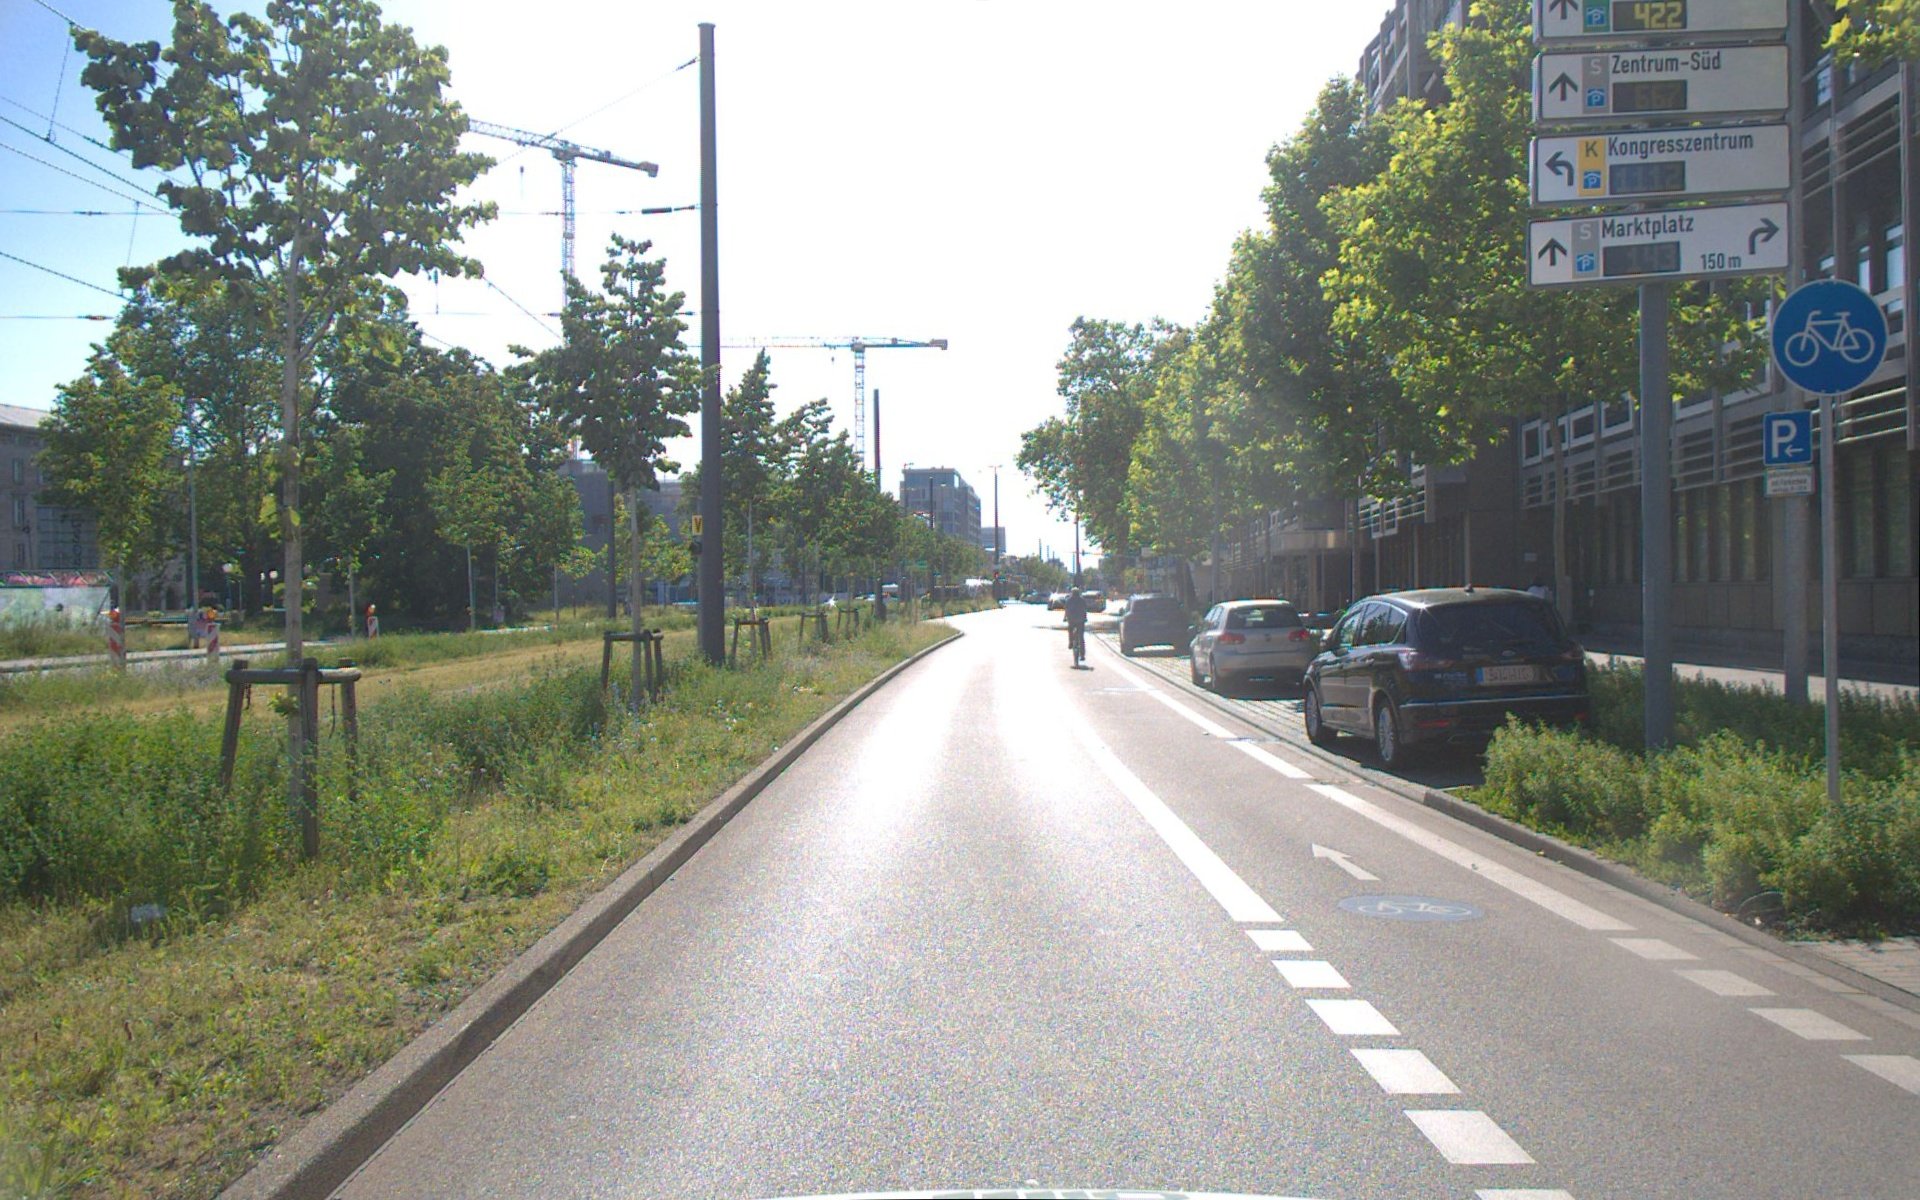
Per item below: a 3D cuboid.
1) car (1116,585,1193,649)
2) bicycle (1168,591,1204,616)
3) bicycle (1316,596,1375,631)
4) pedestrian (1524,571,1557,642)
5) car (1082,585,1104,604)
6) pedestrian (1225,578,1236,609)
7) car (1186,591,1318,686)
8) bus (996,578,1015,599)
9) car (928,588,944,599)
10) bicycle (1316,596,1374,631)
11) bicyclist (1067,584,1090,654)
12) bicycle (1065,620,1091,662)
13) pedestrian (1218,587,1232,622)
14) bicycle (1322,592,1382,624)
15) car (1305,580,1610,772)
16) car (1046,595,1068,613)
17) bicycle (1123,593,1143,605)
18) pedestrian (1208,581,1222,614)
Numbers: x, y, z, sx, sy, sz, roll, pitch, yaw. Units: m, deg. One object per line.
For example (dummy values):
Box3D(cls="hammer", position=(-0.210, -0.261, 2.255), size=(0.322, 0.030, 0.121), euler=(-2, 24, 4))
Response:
Box3D(cls="car", position=(5.541, 0.452, 47.560), size=(1.811, 1.685, 4.850), euler=(-2, 0, 3))
Box3D(cls="bicycle", position=(12.653, 0.189, 92.512), size=(1.897, 1.258, 0.579), euler=(-4, 0, 2))
Box3D(cls="bicycle", position=(12.700, 0.442, 54.559), size=(1.818, 1.028, 0.427), euler=(-3, 0, 6))
Box3D(cls="pedestrian", position=(13.808, 0.152, 39.370), size=(0.500, 1.651, 0.674), euler=(-3, 0, 5))
Box3D(cls="car", position=(11.599, -0.486, 143.880), size=(1.685, 1.646, 4.189), euler=(0, 1, 7))
Box3D(cls="pedestrian", position=(15.487, -0.390, 94.602), size=(0.500, 1.730, 0.774), euler=(-3, 0, 5))
Box3D(cls="car", position=(5.062, 0.618, 29.158), size=(1.585, 1.490, 4.155), euler=(-2, 0, 1))
Box3D(cls="bus", position=(7.028, -1.698, 253.156), size=(2.573, 3.011, 9.902), euler=(1, 0, 3))
Box3D(cls="car", position=(-2.601, -0.686, 179.969), size=(1.347, 1.199, 3.222), euler=(1, 0, 5))
Box3D(cls="bicycle", position=(13.050, 0.456, 56.093), size=(1.818, 1.117, 0.427), euler=(-3, 0, 6))
Box3D(cls="bicyclist", position=(2.794, 0.444, 39.052), size=(0.502, 1.629, 0.536), euler=(-1, 0, 1))
Box3D(cls="bicycle", position=(2.783, 0.964, 39.127), size=(0.487, 0.921, 2.197), euler=(1, 0, 1))
Box3D(cls="pedestrian", position=(13.239, 0.217, 82.567), size=(0.634, 1.758, 0.804), euler=(0, 0, 5))
Box3D(cls="bicycle", position=(12.644, 0.259, 53.345), size=(1.818, 0.955, 0.427), euler=(-3, 0, 6))
Box3D(cls="car", position=(4.903, 0.660, 16.973), size=(1.712, 1.688, 4.469), euler=(-1, 0, -1))
Box3D(cls="car", position=(8.709, 0.323, 147.770), size=(1.871, 1.512, 4.012), euler=(0, 1, 5))
Box3D(cls="bicycle", position=(15.018, -0.119, 143.368), size=(1.658, 0.974, 0.478), euler=(-2, 0, 1))
Box3D(cls="pedestrian", position=(11.830, -0.114, 76.700), size=(0.500, 1.500, 0.737), euler=(-2, 0, 5))
